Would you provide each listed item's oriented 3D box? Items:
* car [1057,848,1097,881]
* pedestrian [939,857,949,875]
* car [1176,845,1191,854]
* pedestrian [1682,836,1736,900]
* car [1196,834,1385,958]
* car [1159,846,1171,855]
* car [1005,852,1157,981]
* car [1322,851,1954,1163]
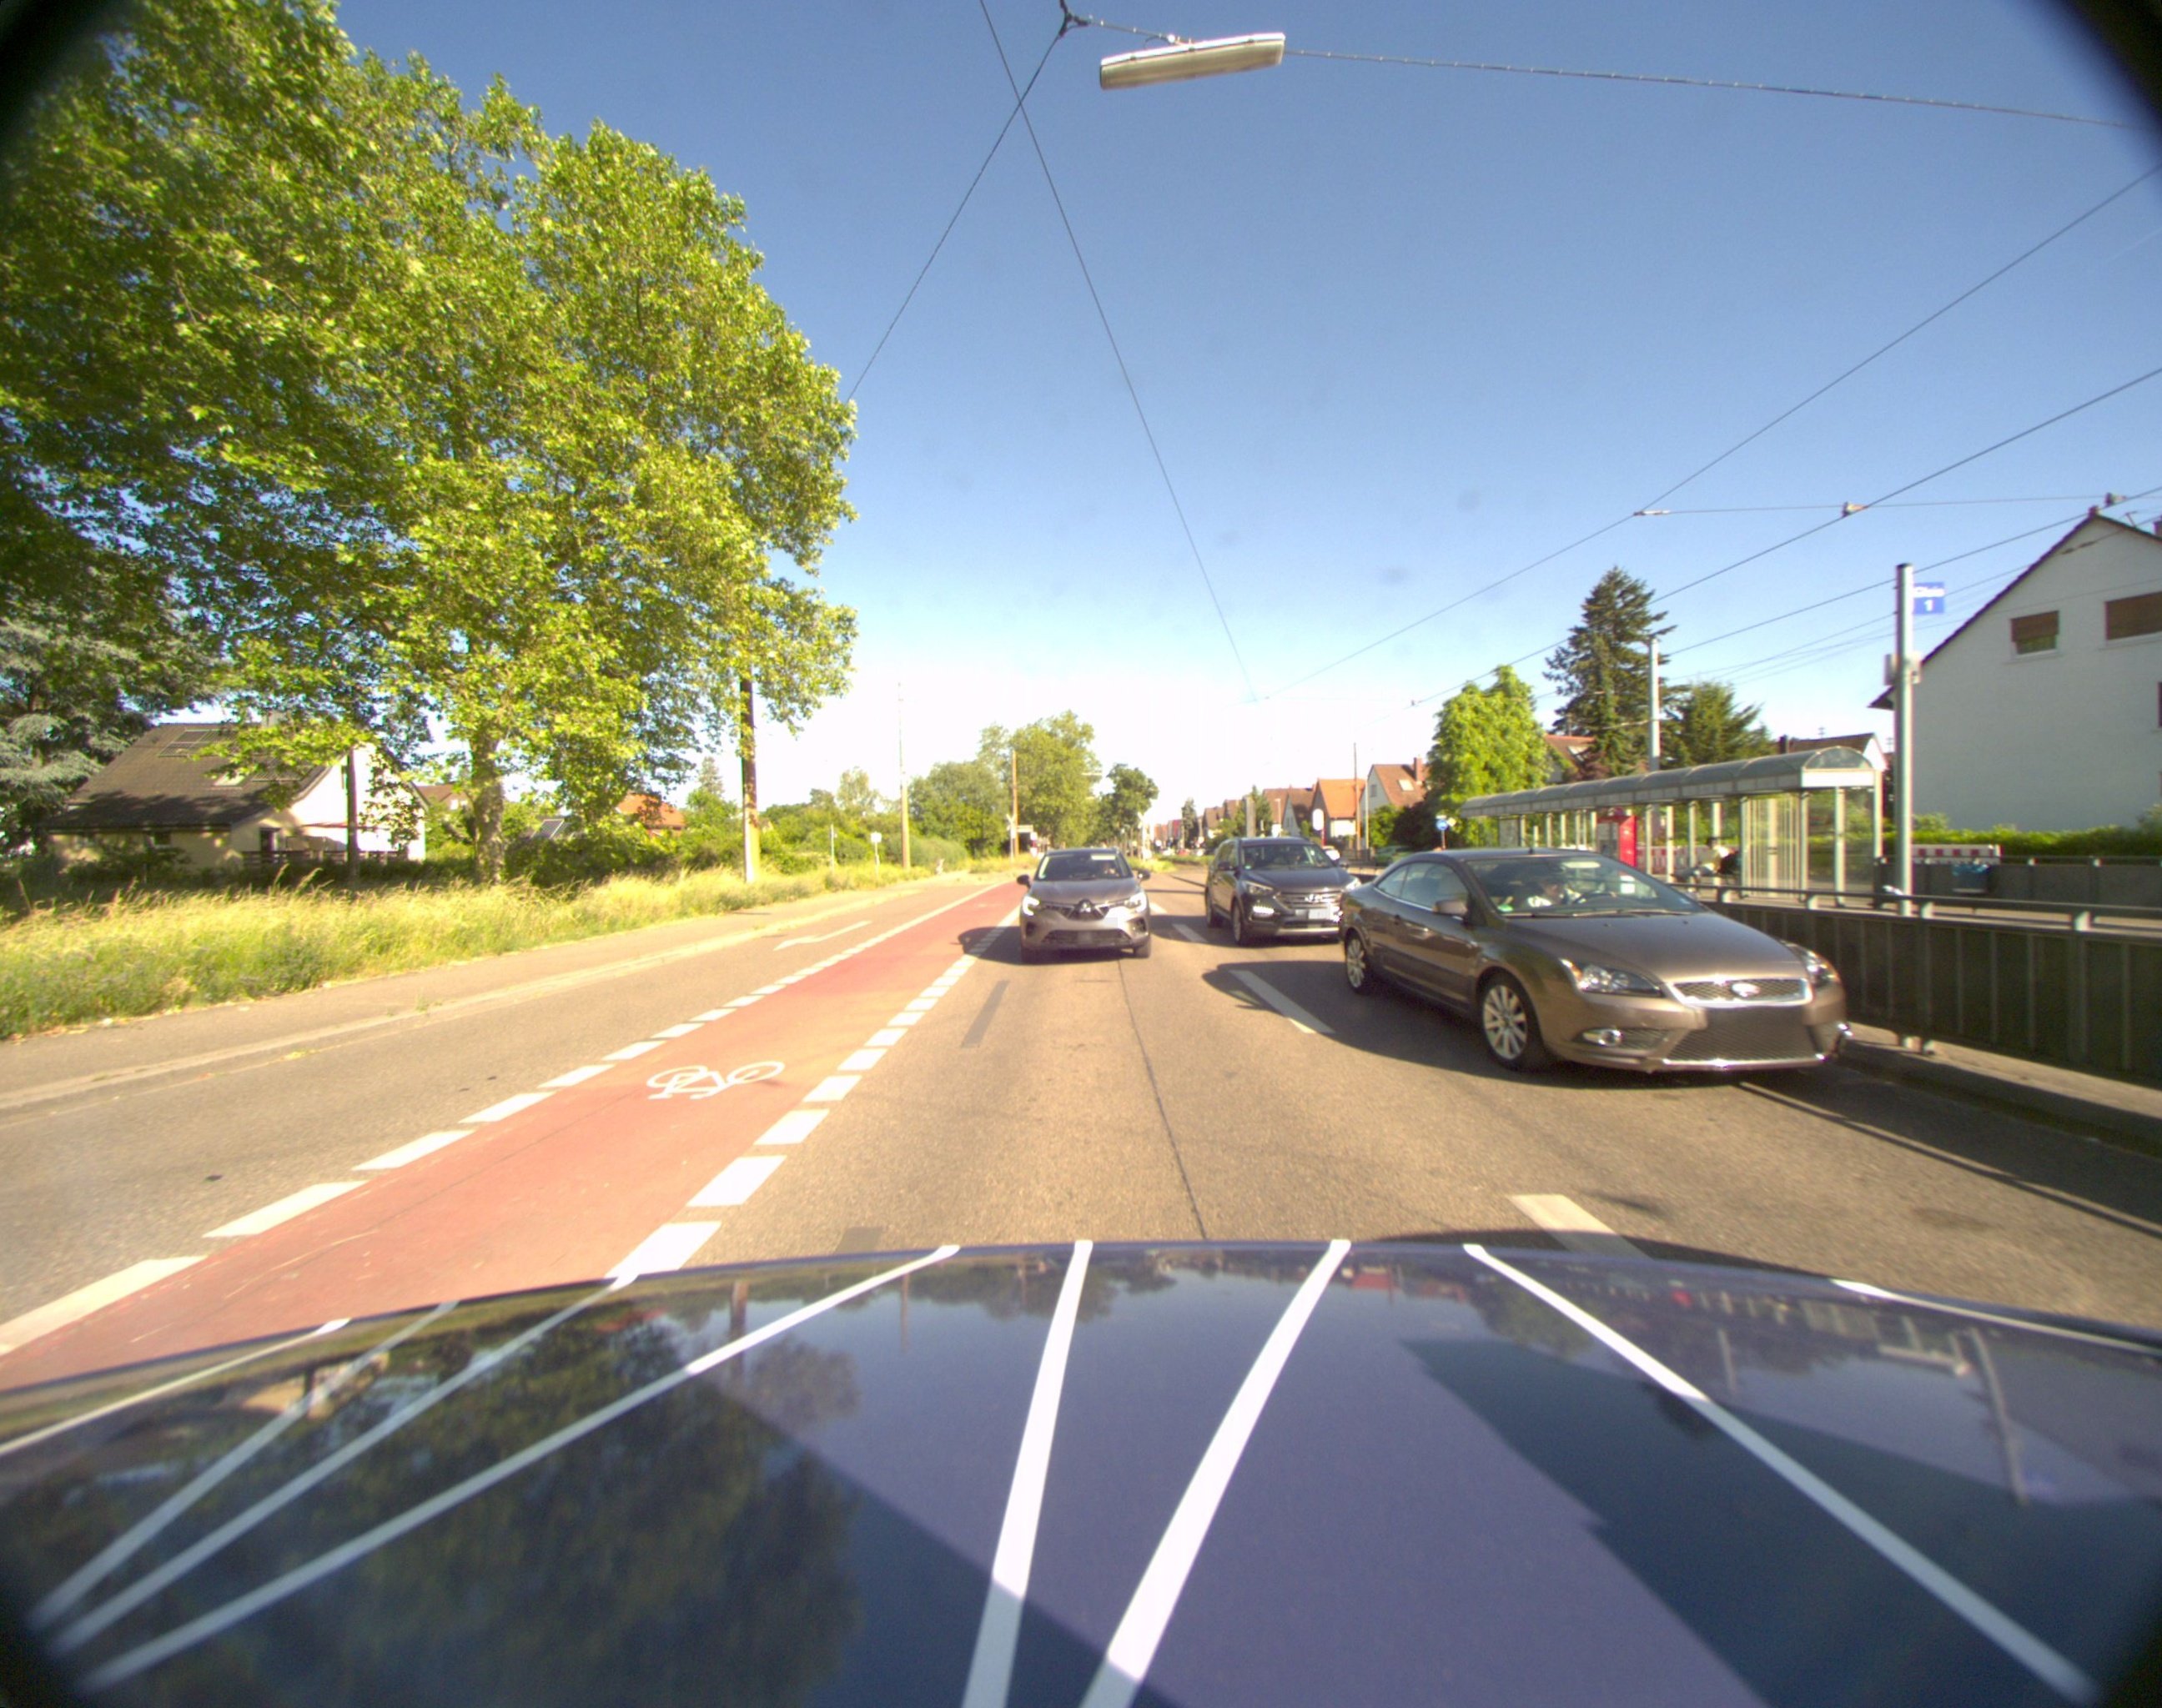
[{"bbox_3d":[-0.176,0.495,37.885,1.839,1.541,3.815,-1,0,0],"label":"car"},{"bbox_3d":[-8.104,0.712,44.801,0.482,1.027,0.454,-1,1,0],"label":"pedestrian"},{"bbox_3d":[16.757,-0.696,124.203,1.998,1.455,4.000,-1,0,1],"label":"car"},{"bbox_3d":[14.141,0.301,17.114,0.623,1.406,0.711,-1,1,-2],"label":"pedestrian"},{"bbox_3d":[3.230,0.566,12.664,1.886,1.686,4.299,-1,0,-1],"label":"car"},{"bbox_3d":[16.910,-0.729,152.312,1.998,1.761,4.000,-1,1,1],"label":"car"},{"bbox_3d":[0.022,0.765,11.261,1.839,1.541,3.815,-1,0,0],"label":"car"},{"bbox_3d":[3.524,0.766,5.962,1.755,1.525,4.193,-1,0,-3],"label":"car"}]
